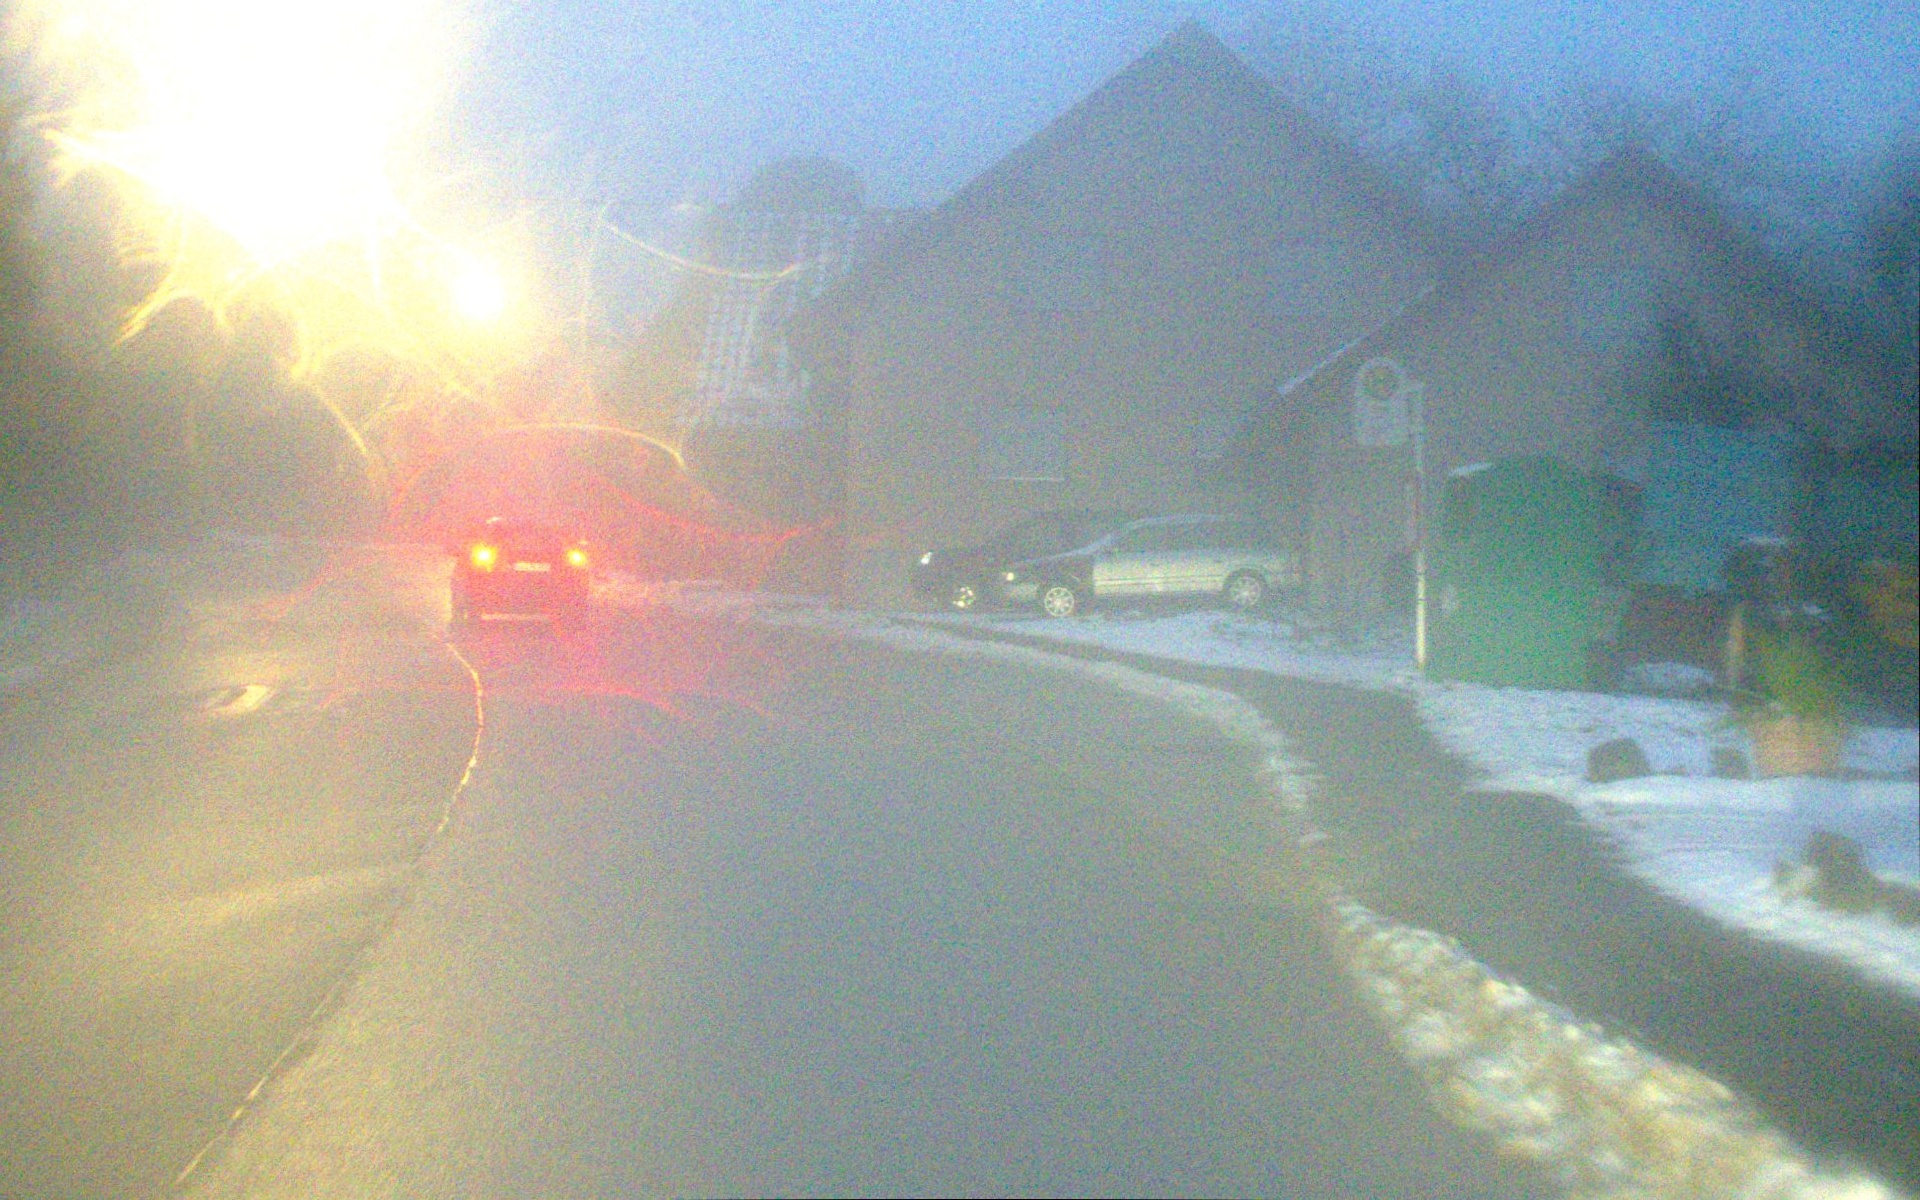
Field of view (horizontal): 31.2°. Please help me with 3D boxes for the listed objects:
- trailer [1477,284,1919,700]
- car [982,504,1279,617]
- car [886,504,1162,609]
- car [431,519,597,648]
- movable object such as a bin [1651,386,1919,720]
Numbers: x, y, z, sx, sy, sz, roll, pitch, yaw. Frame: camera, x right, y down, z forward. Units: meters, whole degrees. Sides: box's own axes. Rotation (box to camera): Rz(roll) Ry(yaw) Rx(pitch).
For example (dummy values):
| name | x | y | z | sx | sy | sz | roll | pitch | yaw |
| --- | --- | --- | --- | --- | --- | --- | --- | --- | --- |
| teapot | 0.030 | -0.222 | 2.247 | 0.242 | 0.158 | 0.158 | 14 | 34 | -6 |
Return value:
| name | x | y | z | sx | sy | sz | roll | pitch | yaw |
| --- | --- | --- | --- | --- | --- | --- | --- | --- | --- |
| trailer | 6.996 | -0.948 | 32.406 | 2.874 | 3.548 | 5.063 | 1 | 0 | -7 |
| car | 2.483 | -0.561 | 50.222 | 4.243 | 1.554 | 2.000 | 0 | -1 | 3 |
| car | 0.954 | -0.664 | 53.199 | 4.158 | 1.554 | 1.946 | 0 | -1 | -2 |
| car | -6.448 | -0.201 | 49.369 | 1.993 | 1.731 | 3.879 | 0 | -1 | -13 |
| movable object such as a bin | 7.292 | -0.345 | 27.805 | 2.387 | 2.460 | 4.516 | 2 | 0 | -1 |
